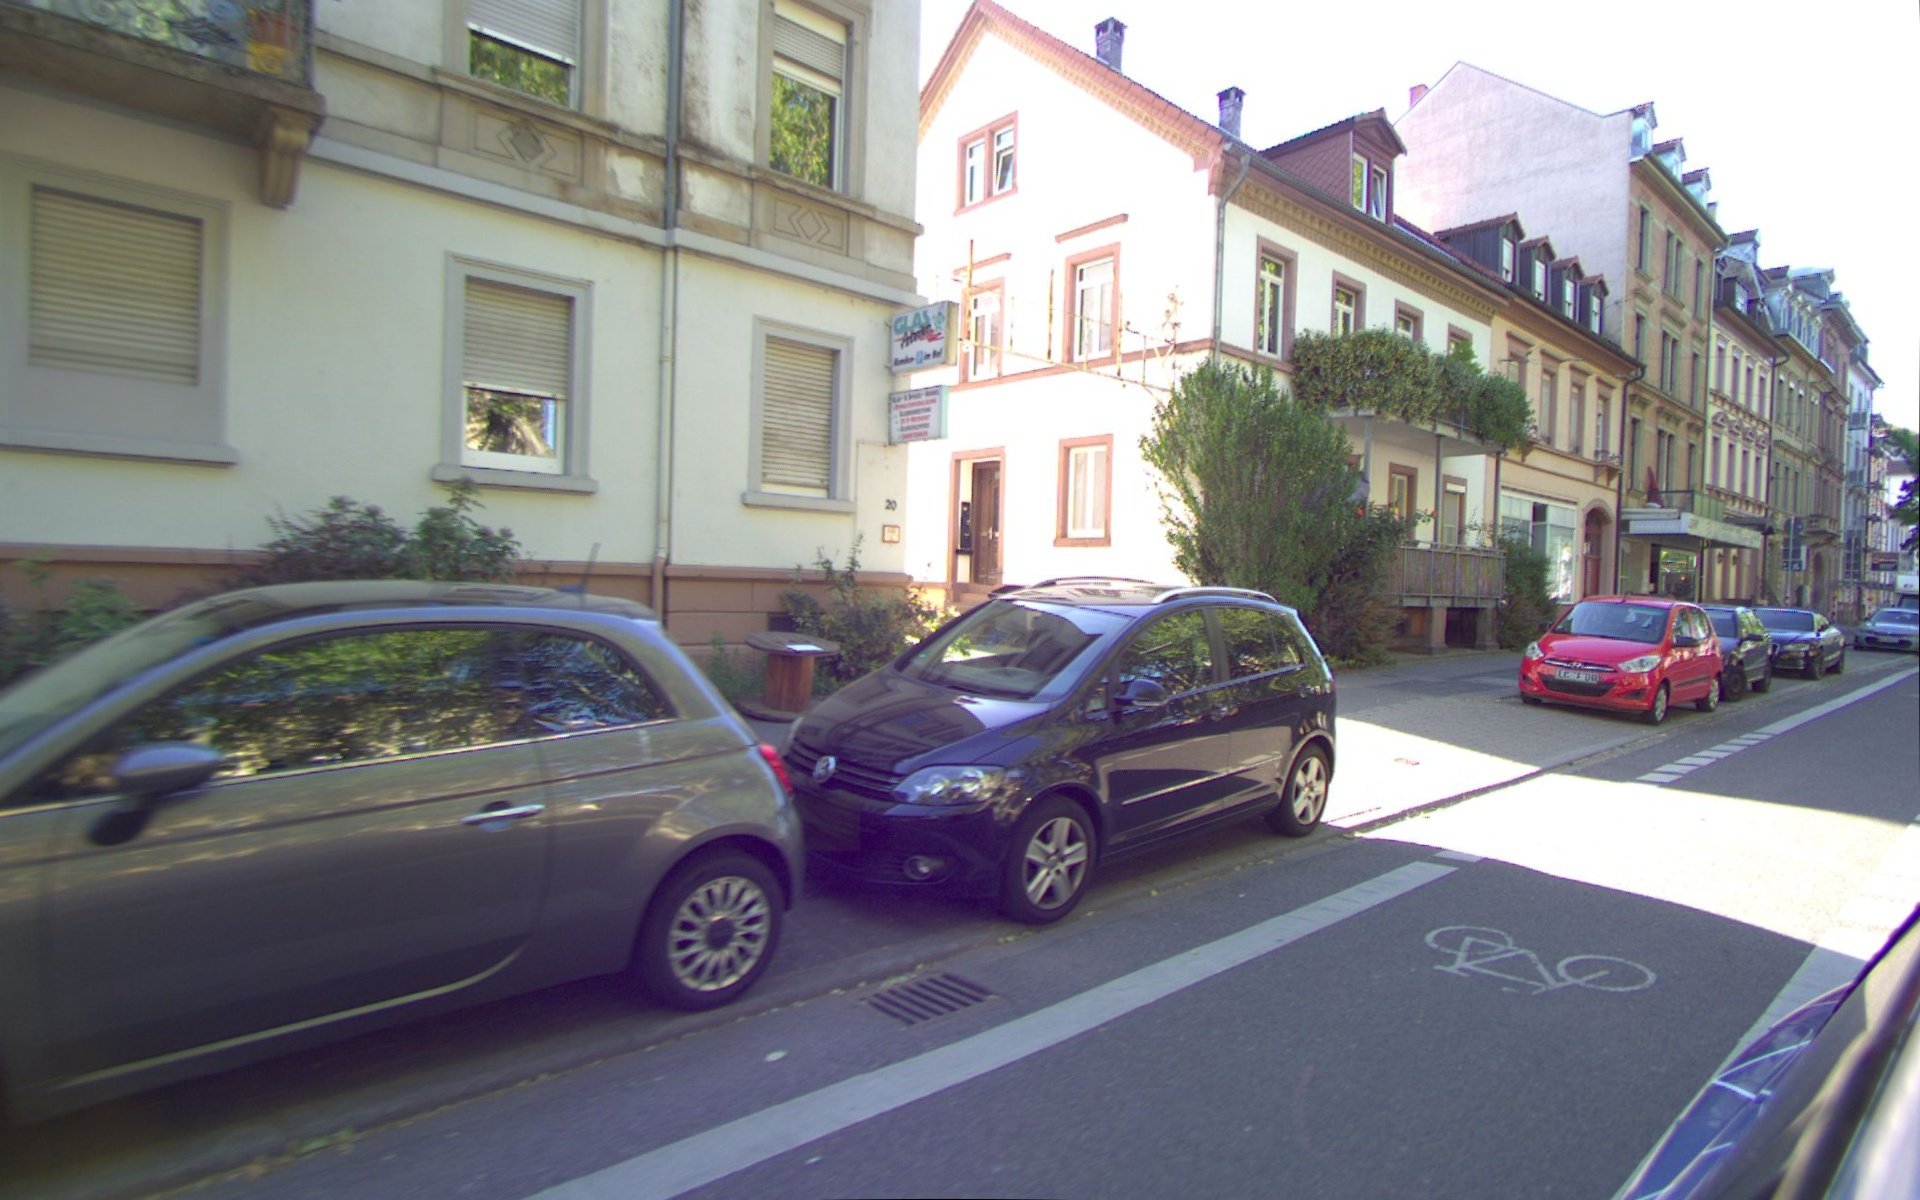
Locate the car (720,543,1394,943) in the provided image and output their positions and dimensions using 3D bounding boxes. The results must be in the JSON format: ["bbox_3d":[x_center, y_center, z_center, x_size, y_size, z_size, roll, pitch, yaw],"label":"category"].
[{"bbox_3d":[0.752,0.567,6.213,3.863,1.604,1.885,0,5,-40],"label":"car"}]

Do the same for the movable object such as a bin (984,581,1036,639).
[{"bbox_3d":[0.945,0.179,19.171,0.781,1.039,0.629,-3,3,-43],"label":"movable object such as a bin"}]

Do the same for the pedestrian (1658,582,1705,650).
[{"bbox_3d":[16.878,0.366,23.680,0.851,1.523,0.661,0,2,-42],"label":"pedestrian"}]

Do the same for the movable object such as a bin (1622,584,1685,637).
[{"bbox_3d":[20.946,0.309,30.571,1.264,1.539,1.296,0,1,-41],"label":"movable object such as a bin"}]

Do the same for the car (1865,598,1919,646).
[{"bbox_3d":[31.734,0.712,33.710,4.584,1.452,1.813,0,3,-42],"label":"car"}]

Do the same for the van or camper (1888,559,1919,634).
[{"bbox_3d":[42.281,-0.081,43.362,7.743,3.007,2.484,0,5,-40],"label":"van or camper"}]

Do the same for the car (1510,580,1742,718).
[{"bbox_3d":[9.069,0.565,13.697,3.512,1.565,1.638,0,3,-40],"label":"car"}]

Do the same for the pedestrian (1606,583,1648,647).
[{"bbox_3d":[16.120,0.355,24.450,0.772,1.501,0.659,0,1,-42],"label":"pedestrian"}]

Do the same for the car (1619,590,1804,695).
[{"bbox_3d":[12.555,0.617,16.835,3.801,1.474,1.654,0,3,-41],"label":"car"}]

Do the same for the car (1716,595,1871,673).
[{"bbox_3d":[17.630,0.645,21.331,4.414,1.409,1.698,0,3,-40],"label":"car"}]

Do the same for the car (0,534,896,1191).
[{"bbox_3d":[-2.263,0.581,3.546,3.703,1.473,1.803,0,5,-42],"label":"car"}]
